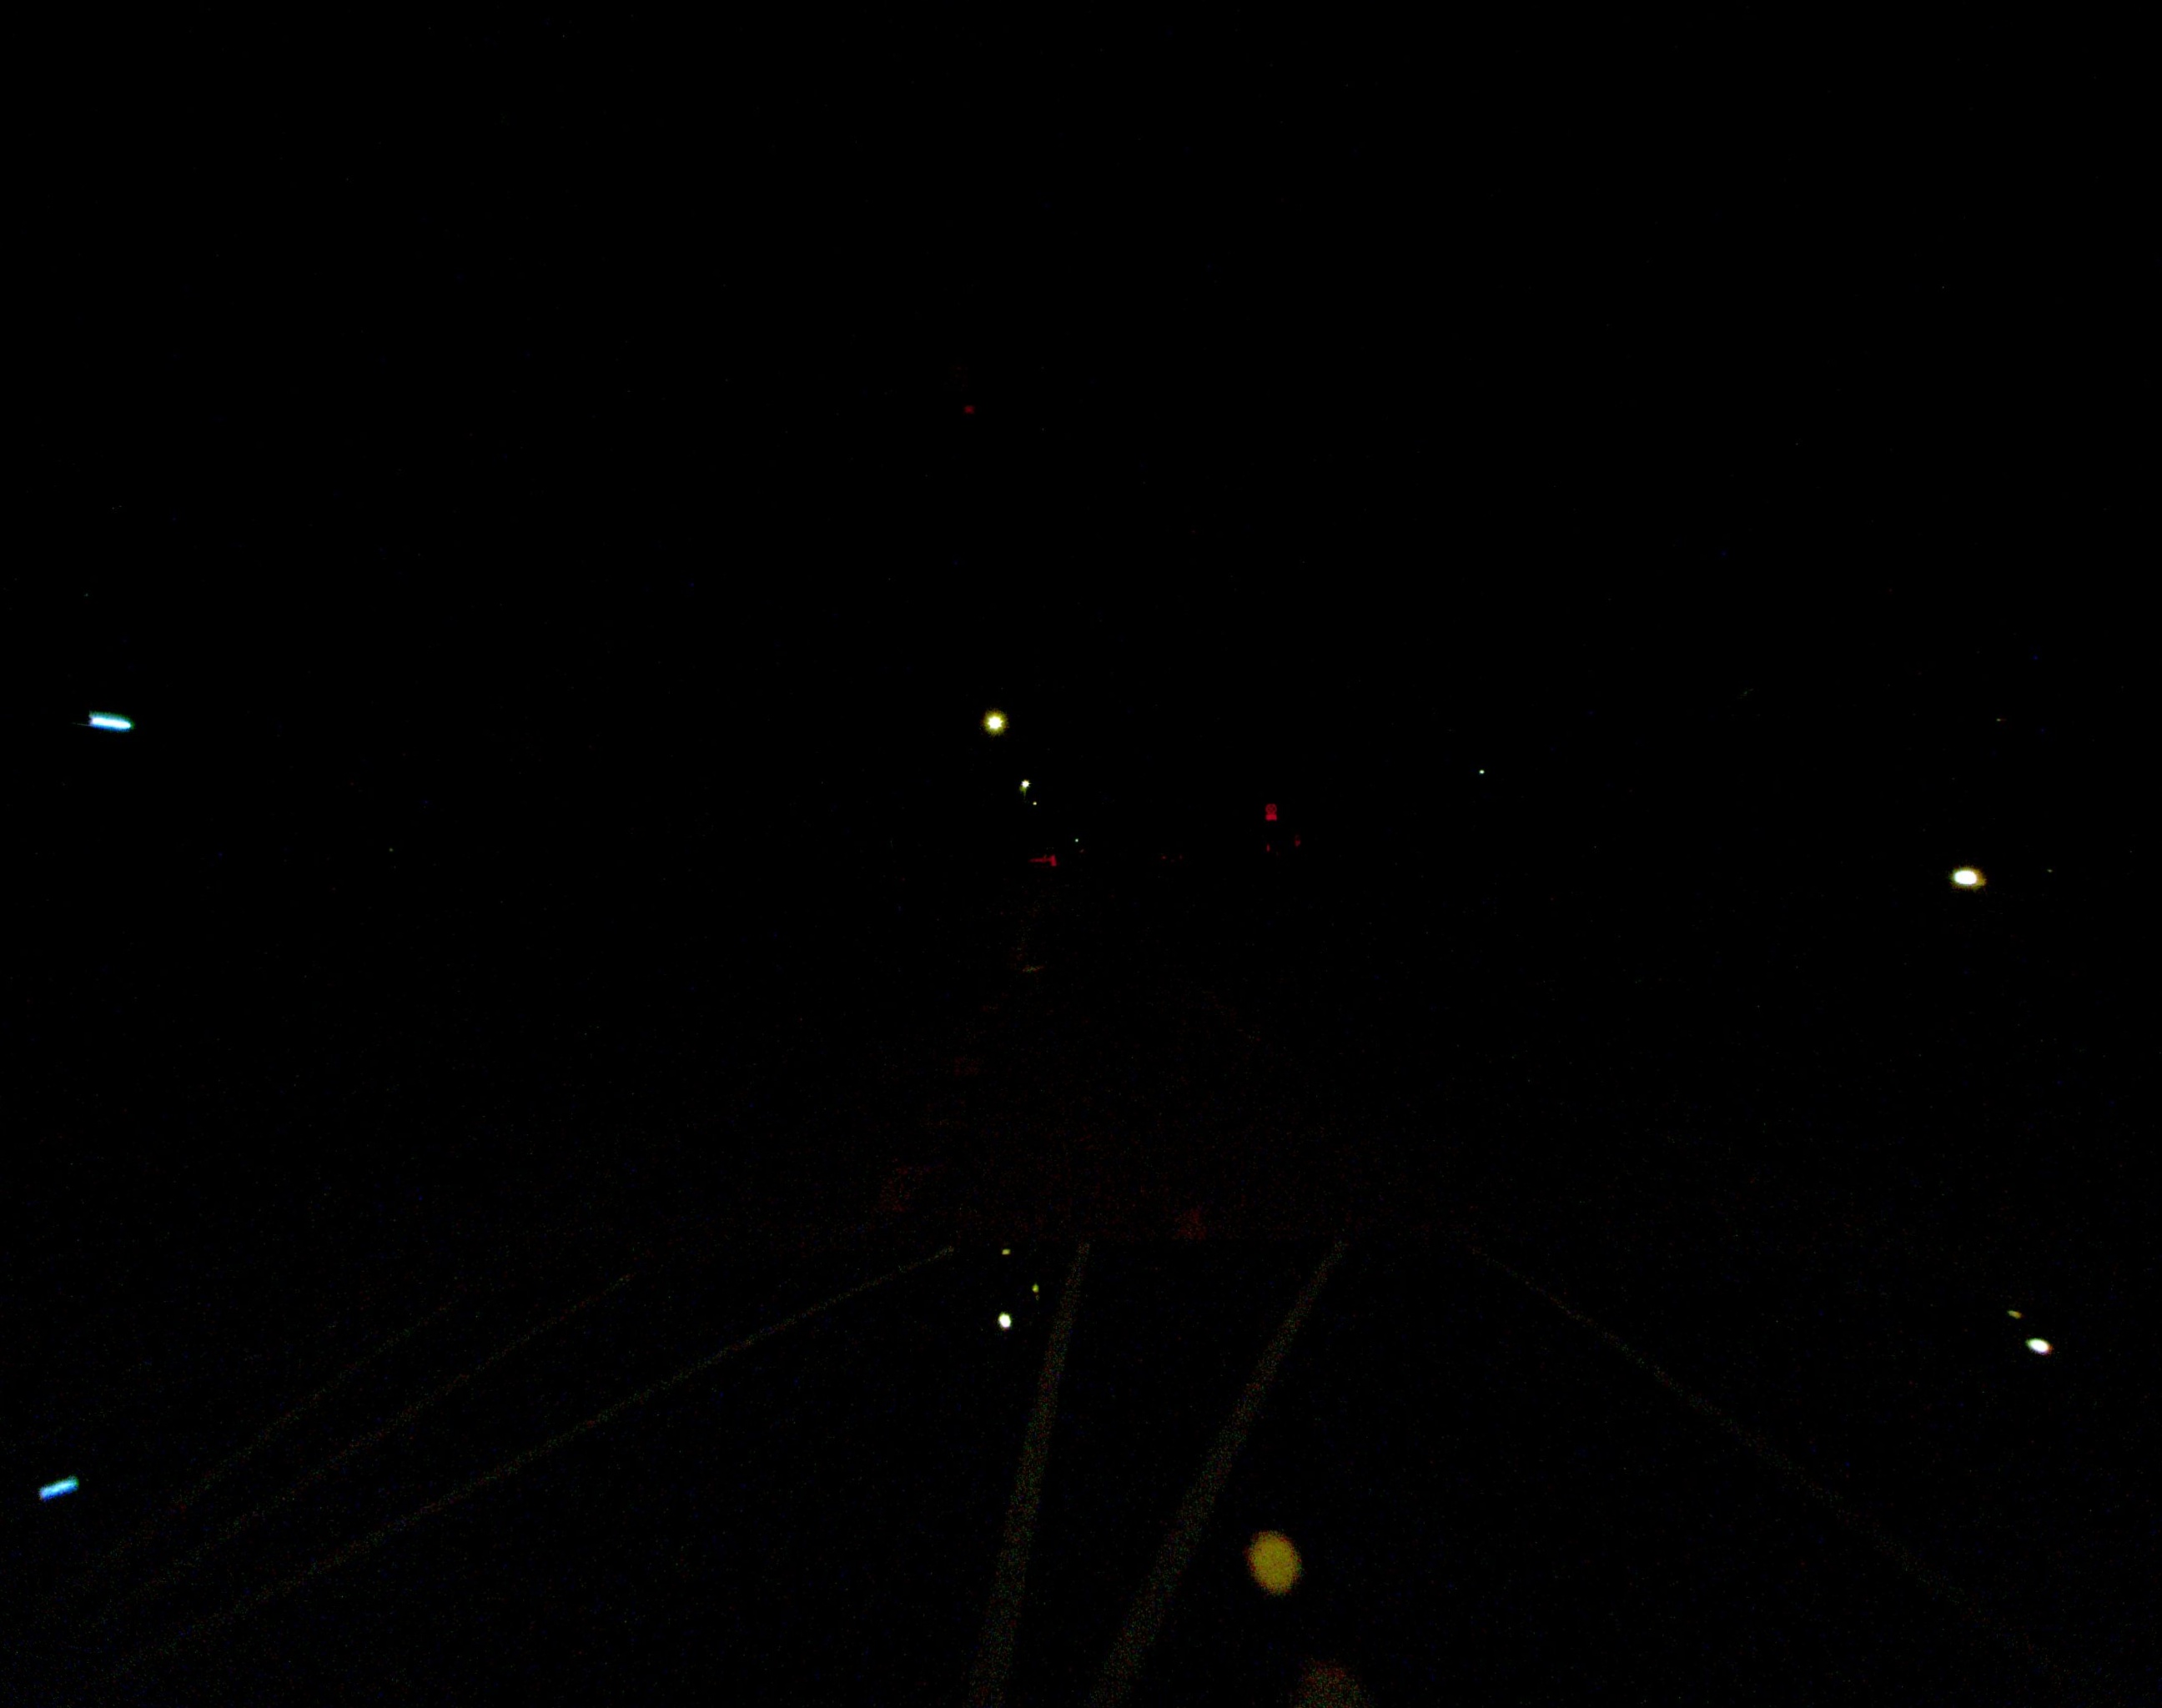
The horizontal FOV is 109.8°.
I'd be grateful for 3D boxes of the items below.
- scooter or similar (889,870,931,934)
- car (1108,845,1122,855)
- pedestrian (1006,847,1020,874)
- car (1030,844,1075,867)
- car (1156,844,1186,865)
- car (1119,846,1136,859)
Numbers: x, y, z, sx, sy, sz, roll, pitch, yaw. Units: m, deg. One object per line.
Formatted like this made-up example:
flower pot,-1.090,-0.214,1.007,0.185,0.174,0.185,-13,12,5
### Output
scooter or similar,-3.639,0.994,16.271,0.570,1.271,1.391,0,0,0
car,5.271,-0.655,118.390,1.911,1.445,3.999,-3,2,1
pedestrian,-4.711,0.435,52.766,0.824,1.809,0.608,-3,2,1
car,-2.574,0.140,70.557,3.997,1.821,1.912,-3,2,0
car,7.208,0.047,60.973,1.911,1.445,3.999,-3,2,1
car,6.088,-0.203,100.008,1.911,1.445,3.999,-3,2,1
